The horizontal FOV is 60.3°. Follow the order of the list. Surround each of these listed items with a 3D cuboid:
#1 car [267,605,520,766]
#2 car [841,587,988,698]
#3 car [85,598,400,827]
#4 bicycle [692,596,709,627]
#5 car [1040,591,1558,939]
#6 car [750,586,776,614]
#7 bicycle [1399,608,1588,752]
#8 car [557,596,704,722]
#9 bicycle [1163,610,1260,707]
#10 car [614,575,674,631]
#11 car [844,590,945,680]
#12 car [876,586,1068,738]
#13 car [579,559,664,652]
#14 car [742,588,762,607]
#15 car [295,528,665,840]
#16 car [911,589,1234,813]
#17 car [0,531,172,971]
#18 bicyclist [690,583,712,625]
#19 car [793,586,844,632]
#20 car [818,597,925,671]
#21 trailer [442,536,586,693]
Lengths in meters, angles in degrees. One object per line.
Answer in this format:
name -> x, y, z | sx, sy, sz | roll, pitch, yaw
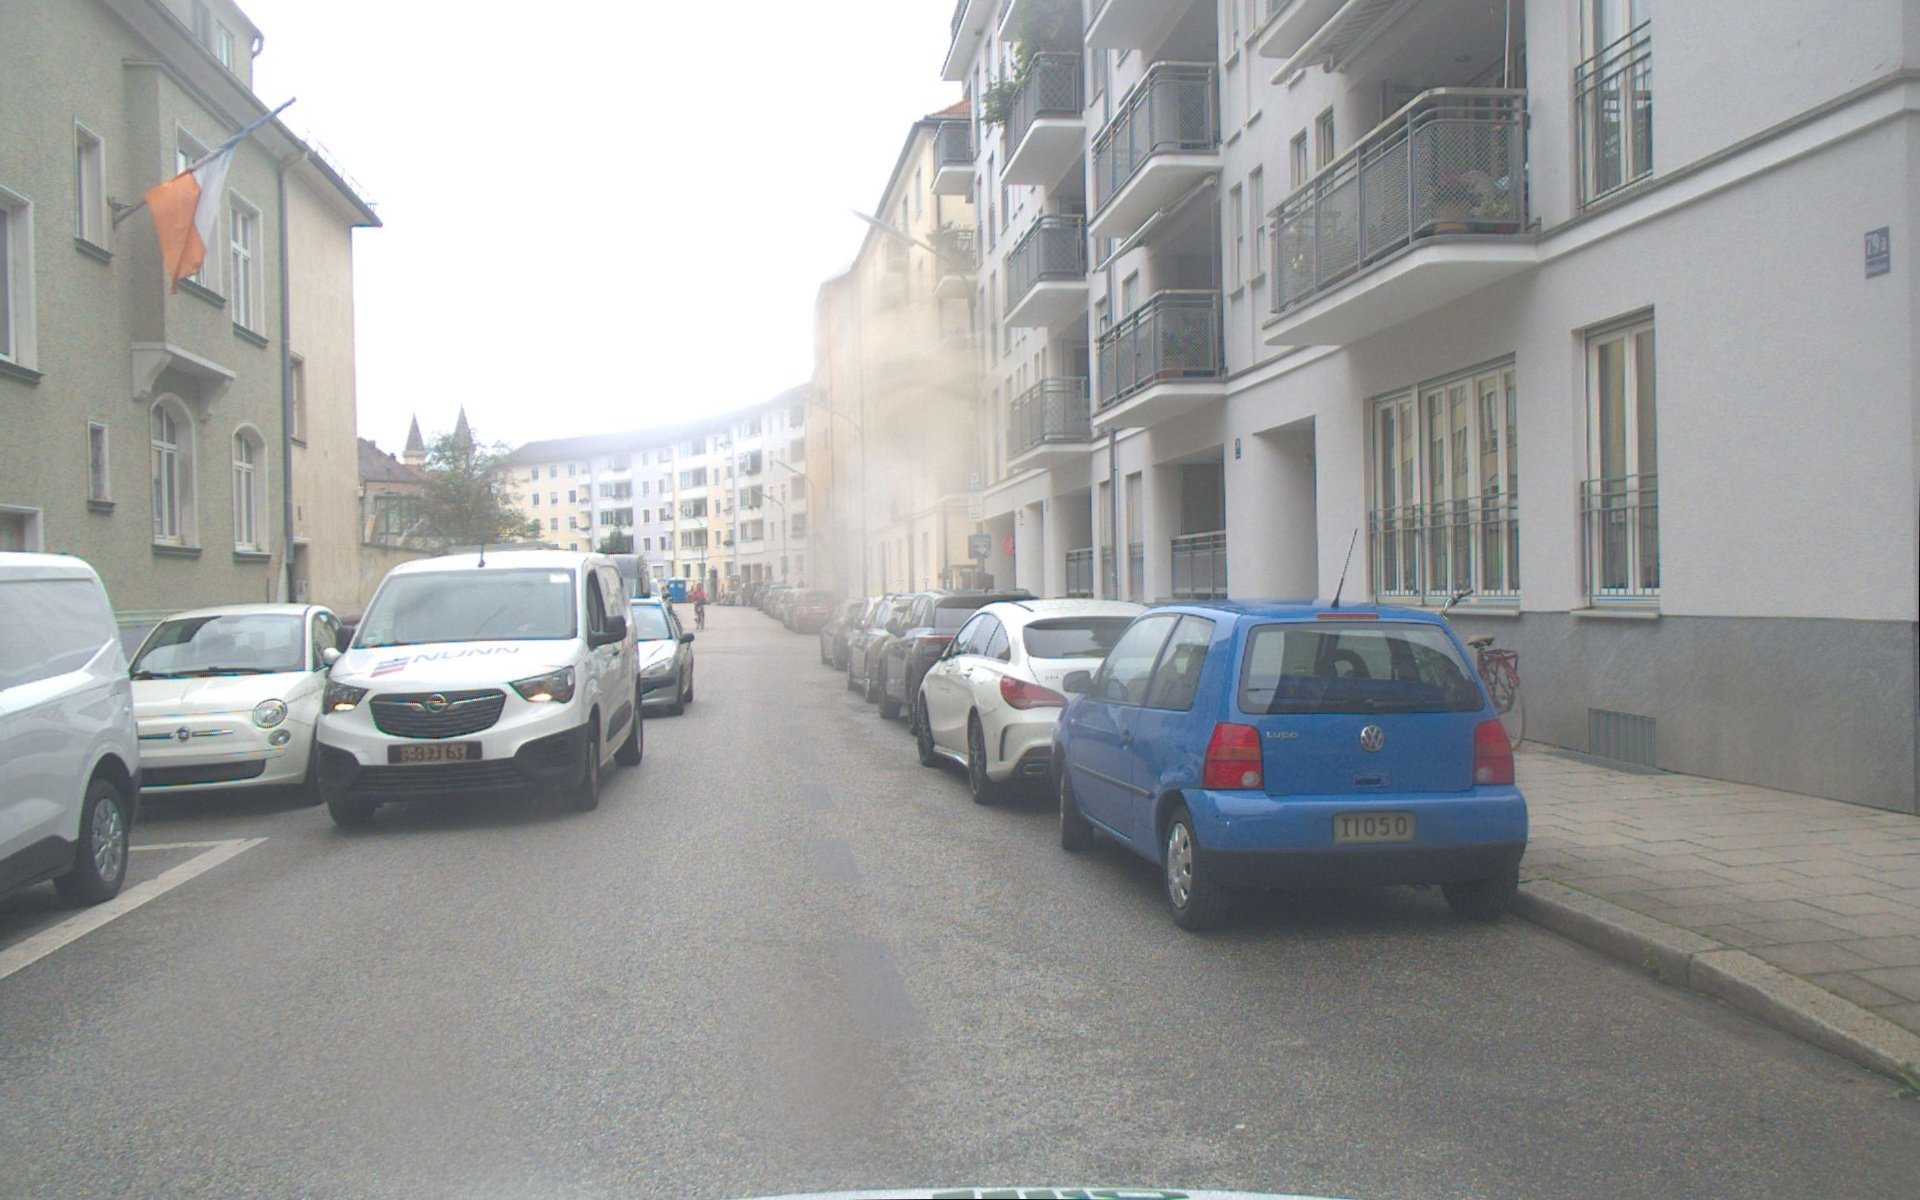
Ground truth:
car -> -6.028, 0.833, 18.102 | 1.827, 1.437, 4.324 | -3, 0, -9
car -> -0.808, 0.601, 25.825 | 1.702, 1.557, 4.612 | 1, 0, -9
car -> -5.526, 0.770, 13.133 | 1.446, 1.492, 3.306 | -3, 1, -9
bicycle -> -9.968, 0.442, 63.623 | 0.494, 1.148, 1.771 | -2, 1, -5
car -> 1.528, 0.698, 8.704 | 1.588, 1.437, 3.547 | 1, 0, -8
car -> -12.254, -0.006, 102.631 | 1.447, 1.669, 3.992 | 0, 1, -9
bicycle -> 4.195, 0.611, 13.158 | 0.665, 1.046, 1.831 | -1, -1, -9
car -> -4.192, 0.699, 21.442 | 1.551, 1.436, 3.607 | -2, 0, -7
bicycle -> 3.309, 0.744, 21.947 | 0.616, 1.180, 2.122 | -2, 1, -10
car -> -12.164, 0.078, 63.899 | 1.847, 1.965, 4.594 | -3, 1, -7
car -> -1.253, 0.595, 30.449 | 1.491, 1.557, 3.519 | 0, 0, -8
car -> 0.032, 0.636, 19.120 | 1.574, 1.557, 3.976 | 1, 0, -9
car -> -10.472, 0.111, 51.579 | 2.048, 2.682, 5.370 | -1, 1, -6
car -> -14.322, -0.189, 113.686 | 1.249, 1.321, 2.791 | -1, 1, -9
car -> -3.375, 0.514, 12.545 | 1.737, 1.835, 4.567 | -3, 0, -5
car -> 0.699, 0.667, 13.052 | 1.627, 1.465, 4.198 | 1, 0, -9
car -> -4.864, 0.666, 6.866 | 1.659, 1.835, 4.137 | -3, 1, -9
bicyclist -> -9.954, 0.155, 63.585 | 0.680, 1.589, 0.965 | -2, 1, -5
car -> -5.014, 0.288, 58.308 | 1.565, 1.535, 3.794 | -1, 1, -8
car -> -1.907, 0.672, 34.564 | 1.731, 1.432, 4.068 | -1, 0, -10
trailer -> -7.864, 0.212, 29.526 | 1.677, 2.504, 4.381 | -3, 1, -6
